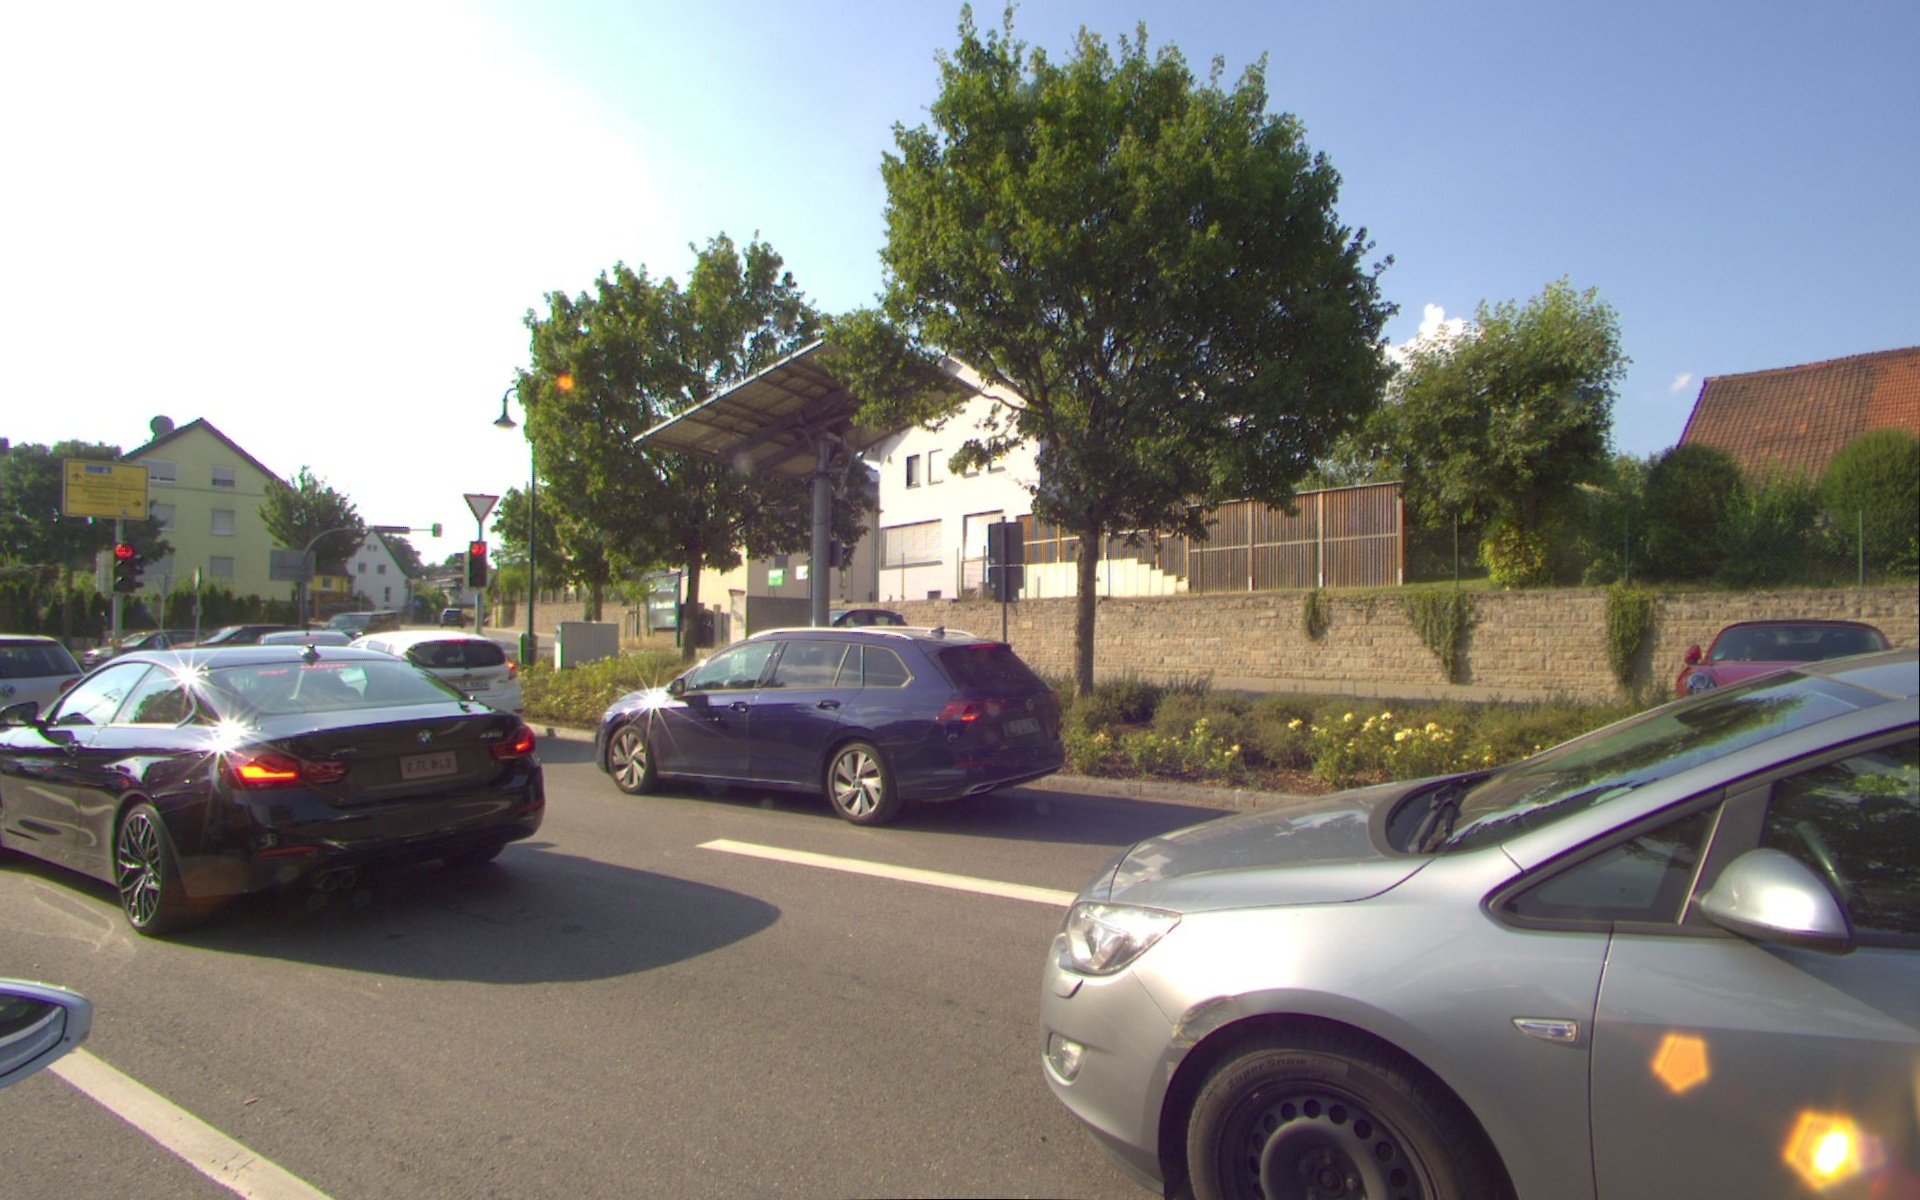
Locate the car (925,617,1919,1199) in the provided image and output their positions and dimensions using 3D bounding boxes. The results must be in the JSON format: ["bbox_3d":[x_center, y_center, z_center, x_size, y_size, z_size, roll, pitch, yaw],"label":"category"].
[{"bbox_3d":[2.178,0.784,2.168,4.256,1.472,1.758,-1,0,31],"label":"car"}]

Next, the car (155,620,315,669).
[{"bbox_3d":[-26.347,1.601,36.561,1.818,1.662,4.418,0,-2,25],"label":"car"}]

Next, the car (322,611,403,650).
[{"bbox_3d":[-28.089,1.445,47.263,1.814,1.761,4.781,1,-2,-12],"label":"car"}]

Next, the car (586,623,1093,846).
[{"bbox_3d":[-1.162,0.950,8.653,4.259,1.472,1.757,-1,0,34],"label":"car"}]

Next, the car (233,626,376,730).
[{"bbox_3d":[-11.749,1.271,17.821,1.643,1.562,4.362,0,0,-40],"label":"car"}]

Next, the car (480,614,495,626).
[{"bbox_3d":[-71.180,3.034,150.788,1.941,1.701,4.198,0,-1,-26],"label":"car"}]

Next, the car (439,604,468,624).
[{"bbox_3d":[-43.873,1.217,86.735,1.944,1.701,4.192,0,-1,-31],"label":"car"}]

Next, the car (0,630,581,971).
[{"bbox_3d":[-4.431,0.915,6.193,4.220,1.416,1.758,-1,0,33],"label":"car"}]

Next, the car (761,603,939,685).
[{"bbox_3d":[-2.373,0.962,22.304,1.758,1.653,3.800,-1,-2,40],"label":"car"}]

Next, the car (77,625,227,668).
[{"bbox_3d":[-30.068,1.716,37.370,1.821,1.508,3.983,-1,-2,30],"label":"car"}]

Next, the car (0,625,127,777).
[{"bbox_3d":[-10.802,1.012,10.786,3.848,1.444,1.758,-1,0,33],"label":"car"}]

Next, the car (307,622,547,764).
[{"bbox_3d":[-6.914,1.081,12.894,3.278,1.562,1.611,-1,0,40],"label":"car"}]

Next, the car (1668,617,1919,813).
[{"bbox_3d":[8.229,0.954,9.751,1.758,1.510,4.120,-1,-2,41],"label":"car"}]
